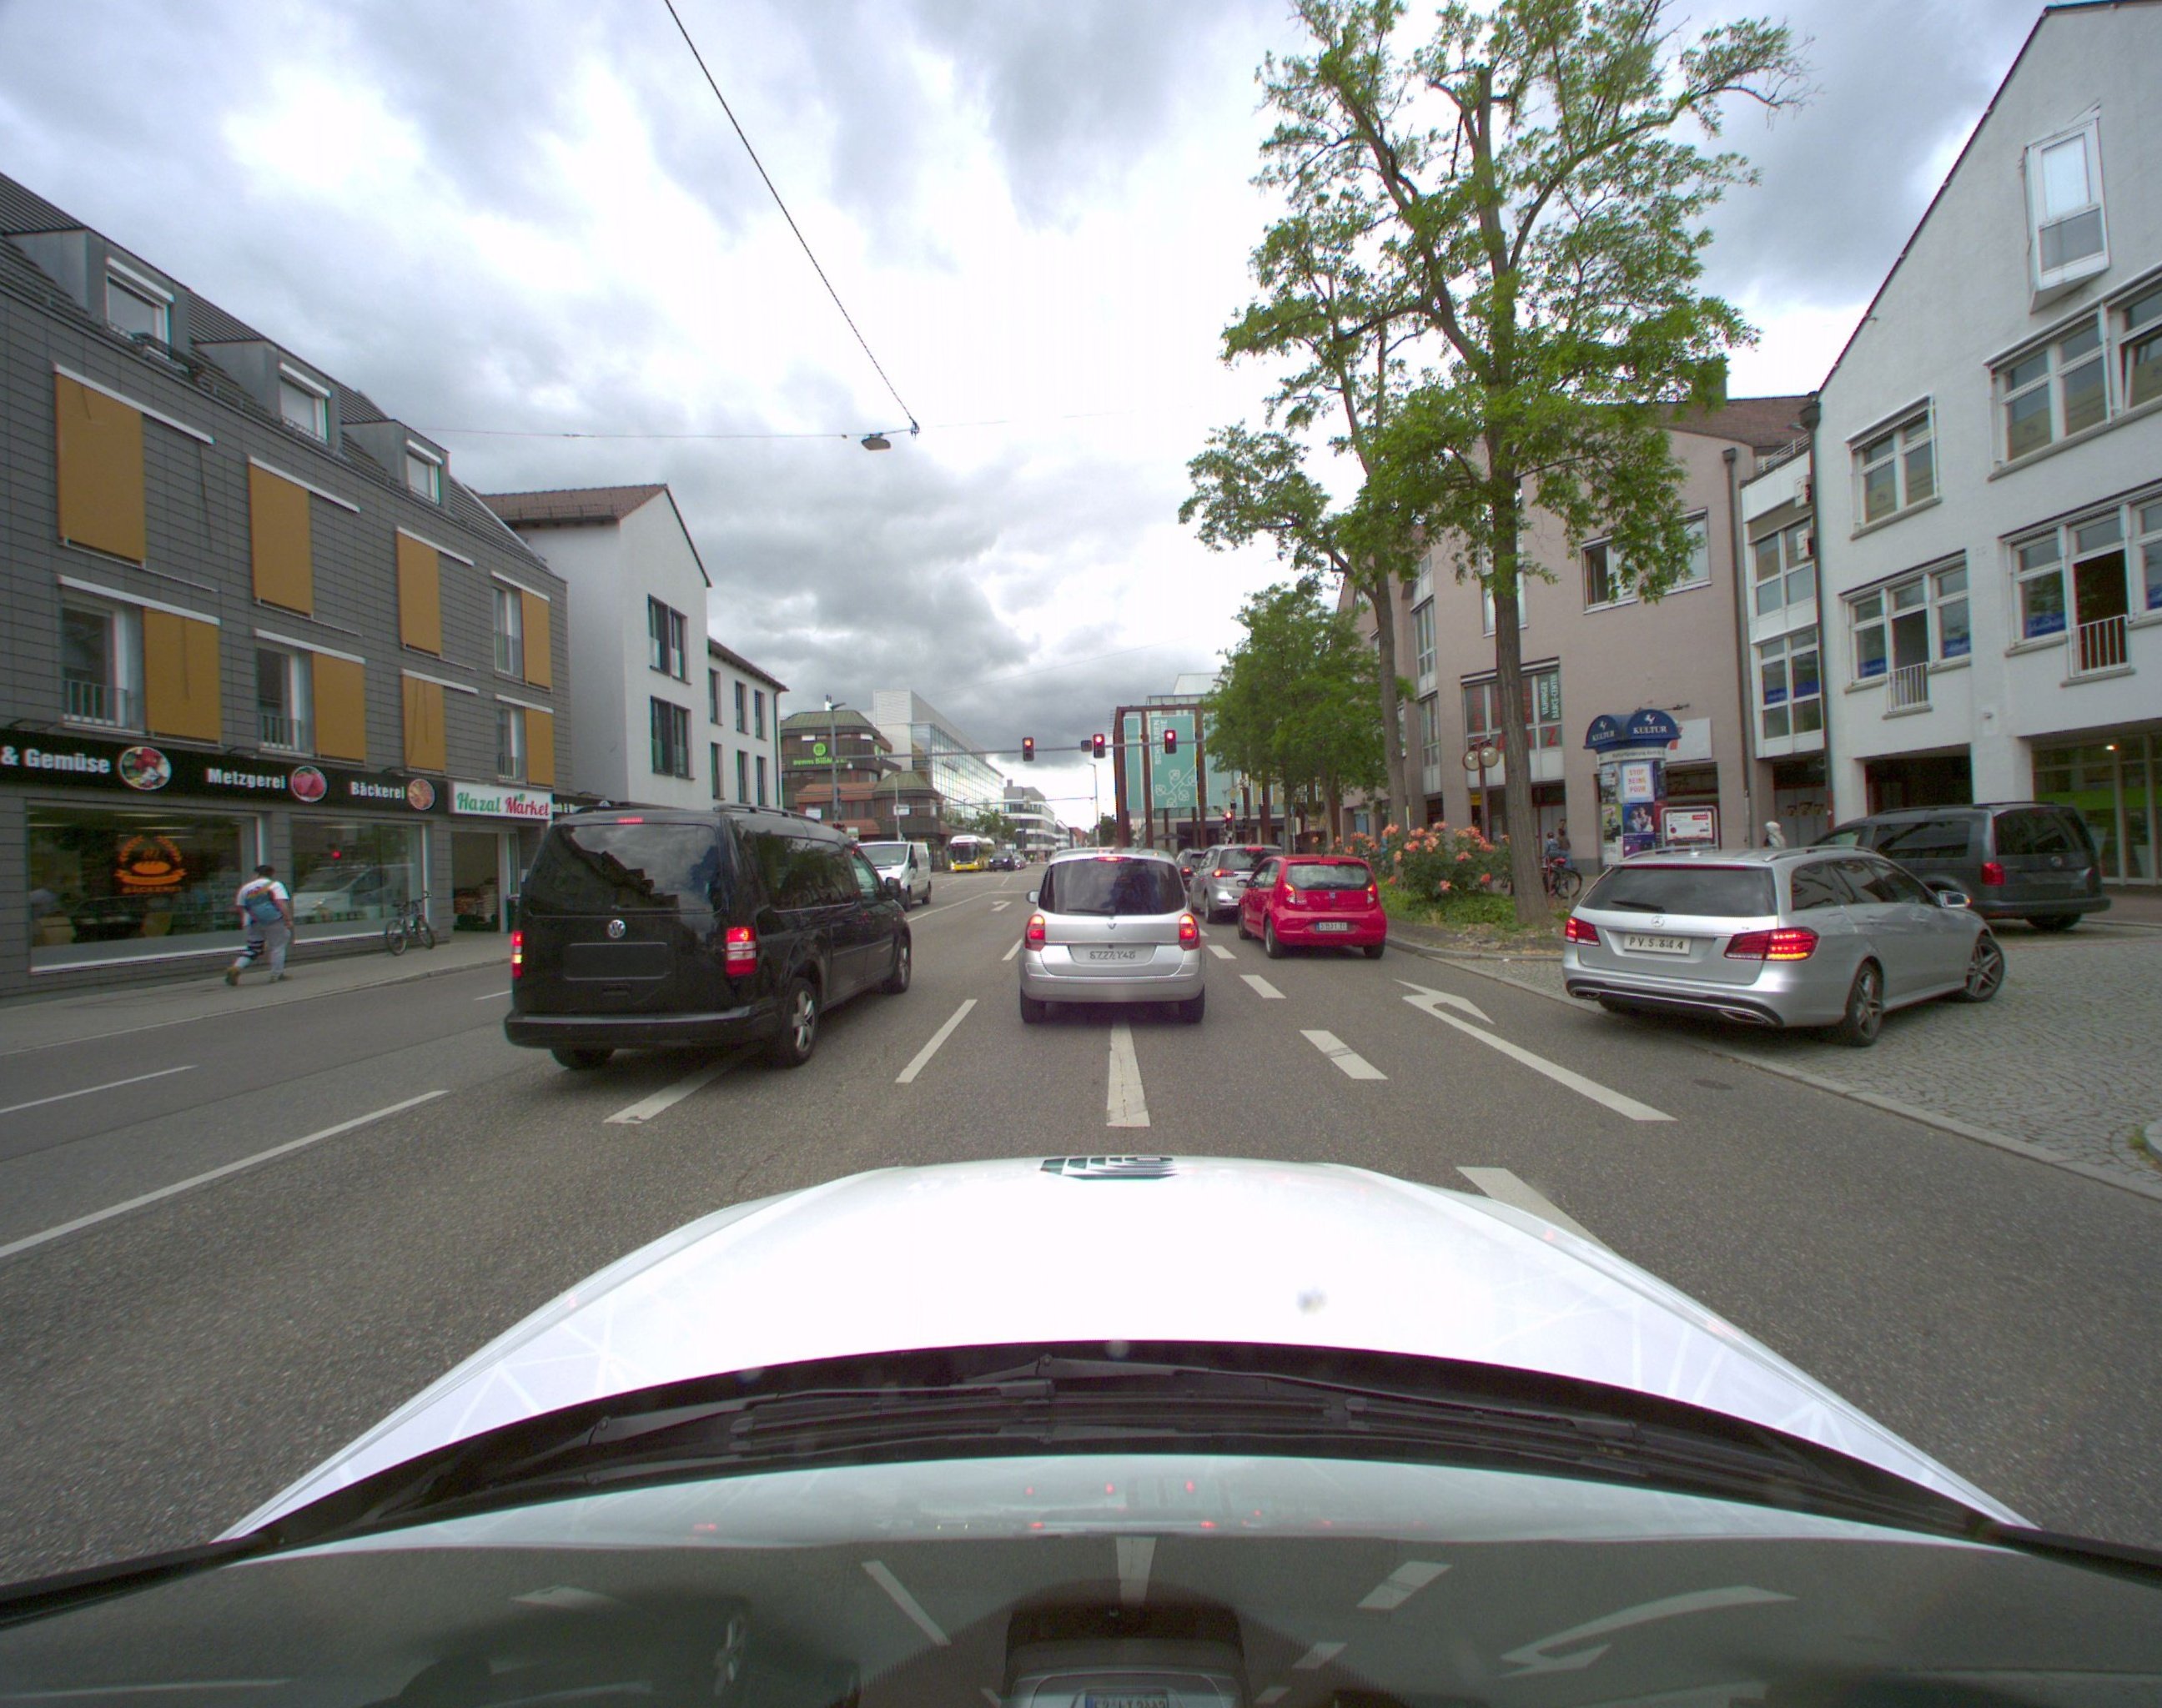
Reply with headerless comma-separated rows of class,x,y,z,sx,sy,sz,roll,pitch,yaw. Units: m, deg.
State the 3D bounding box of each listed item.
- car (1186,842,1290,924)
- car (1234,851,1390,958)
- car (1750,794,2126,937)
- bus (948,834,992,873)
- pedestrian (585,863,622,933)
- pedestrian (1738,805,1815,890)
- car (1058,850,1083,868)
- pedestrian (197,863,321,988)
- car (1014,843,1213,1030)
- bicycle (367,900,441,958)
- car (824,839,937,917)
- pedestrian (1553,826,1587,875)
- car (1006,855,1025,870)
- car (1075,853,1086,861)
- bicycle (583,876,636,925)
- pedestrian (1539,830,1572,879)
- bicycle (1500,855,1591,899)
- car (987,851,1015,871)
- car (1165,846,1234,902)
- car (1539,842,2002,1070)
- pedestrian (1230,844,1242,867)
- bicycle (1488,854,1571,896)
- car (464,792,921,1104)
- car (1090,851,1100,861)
car,3.373,0.564,18.175,1.581,1.634,3.916,0,0,0
car,3.441,0.684,12.718,1.580,1.443,3.350,0,0,2
car,13.108,0.142,12.874,1.633,1.831,3.963,-3,0,-3
bus,-10.167,-0.063,75.537,2.678,3.261,8.654,-2,0,1
pedestrian,-11.670,1.070,19.921,0.654,1.650,0.555,-2,0,-22
pedestrian,14.384,-0.128,16.870,0.786,1.659,0.819,-4,0,1
car,-0.975,0.477,79.805,1.907,1.677,4.250,-2,0,6
pedestrian,-11.842,0.995,11.765,0.751,1.705,0.981,1,0,1
car,0.319,0.680,8.459,1.634,1.527,3.395,-1,0,1
bicycle,-12.649,1.377,15.260,0.325,0.954,1.478,-2,0,-9
car,-5.616,0.616,23.536,1.988,1.888,5.156,-3,0,-1
pedestrian,15.654,-0.111,26.063,0.665,1.563,0.618,-2,0,-20
car,-6.420,0.827,80.355,1.550,1.392,3.288,-2,0,1
car,-0.063,0.555,157.693,1.793,1.540,4.068,-2,0,3
bicycle,-12.781,1.235,22.122,0.385,1.186,1.825,-2,0,-1
pedestrian,15.038,0.009,25.821,0.611,1.515,0.618,-2,0,-20
bicycle,11.291,0.554,19.833,1.892,0.997,0.468,-2,0,5
car,-7.109,0.630,72.787,1.987,1.706,4.065,-2,0,0
car,3.619,0.570,25.409,1.581,1.595,3.868,0,0,0
car,6.277,0.663,7.306,4.382,1.448,1.803,-2,1,-30
pedestrian,11.507,0.104,60.419,0.652,1.650,0.557,-2,0,-13
bicycle,11.208,0.521,20.390,1.760,0.997,0.447,-2,0,5
car,-2.787,0.556,7.207,1.738,1.855,4.634,-1,0,1
car,2.833,0.330,170.211,1.987,1.949,4.951,-2,0,1
